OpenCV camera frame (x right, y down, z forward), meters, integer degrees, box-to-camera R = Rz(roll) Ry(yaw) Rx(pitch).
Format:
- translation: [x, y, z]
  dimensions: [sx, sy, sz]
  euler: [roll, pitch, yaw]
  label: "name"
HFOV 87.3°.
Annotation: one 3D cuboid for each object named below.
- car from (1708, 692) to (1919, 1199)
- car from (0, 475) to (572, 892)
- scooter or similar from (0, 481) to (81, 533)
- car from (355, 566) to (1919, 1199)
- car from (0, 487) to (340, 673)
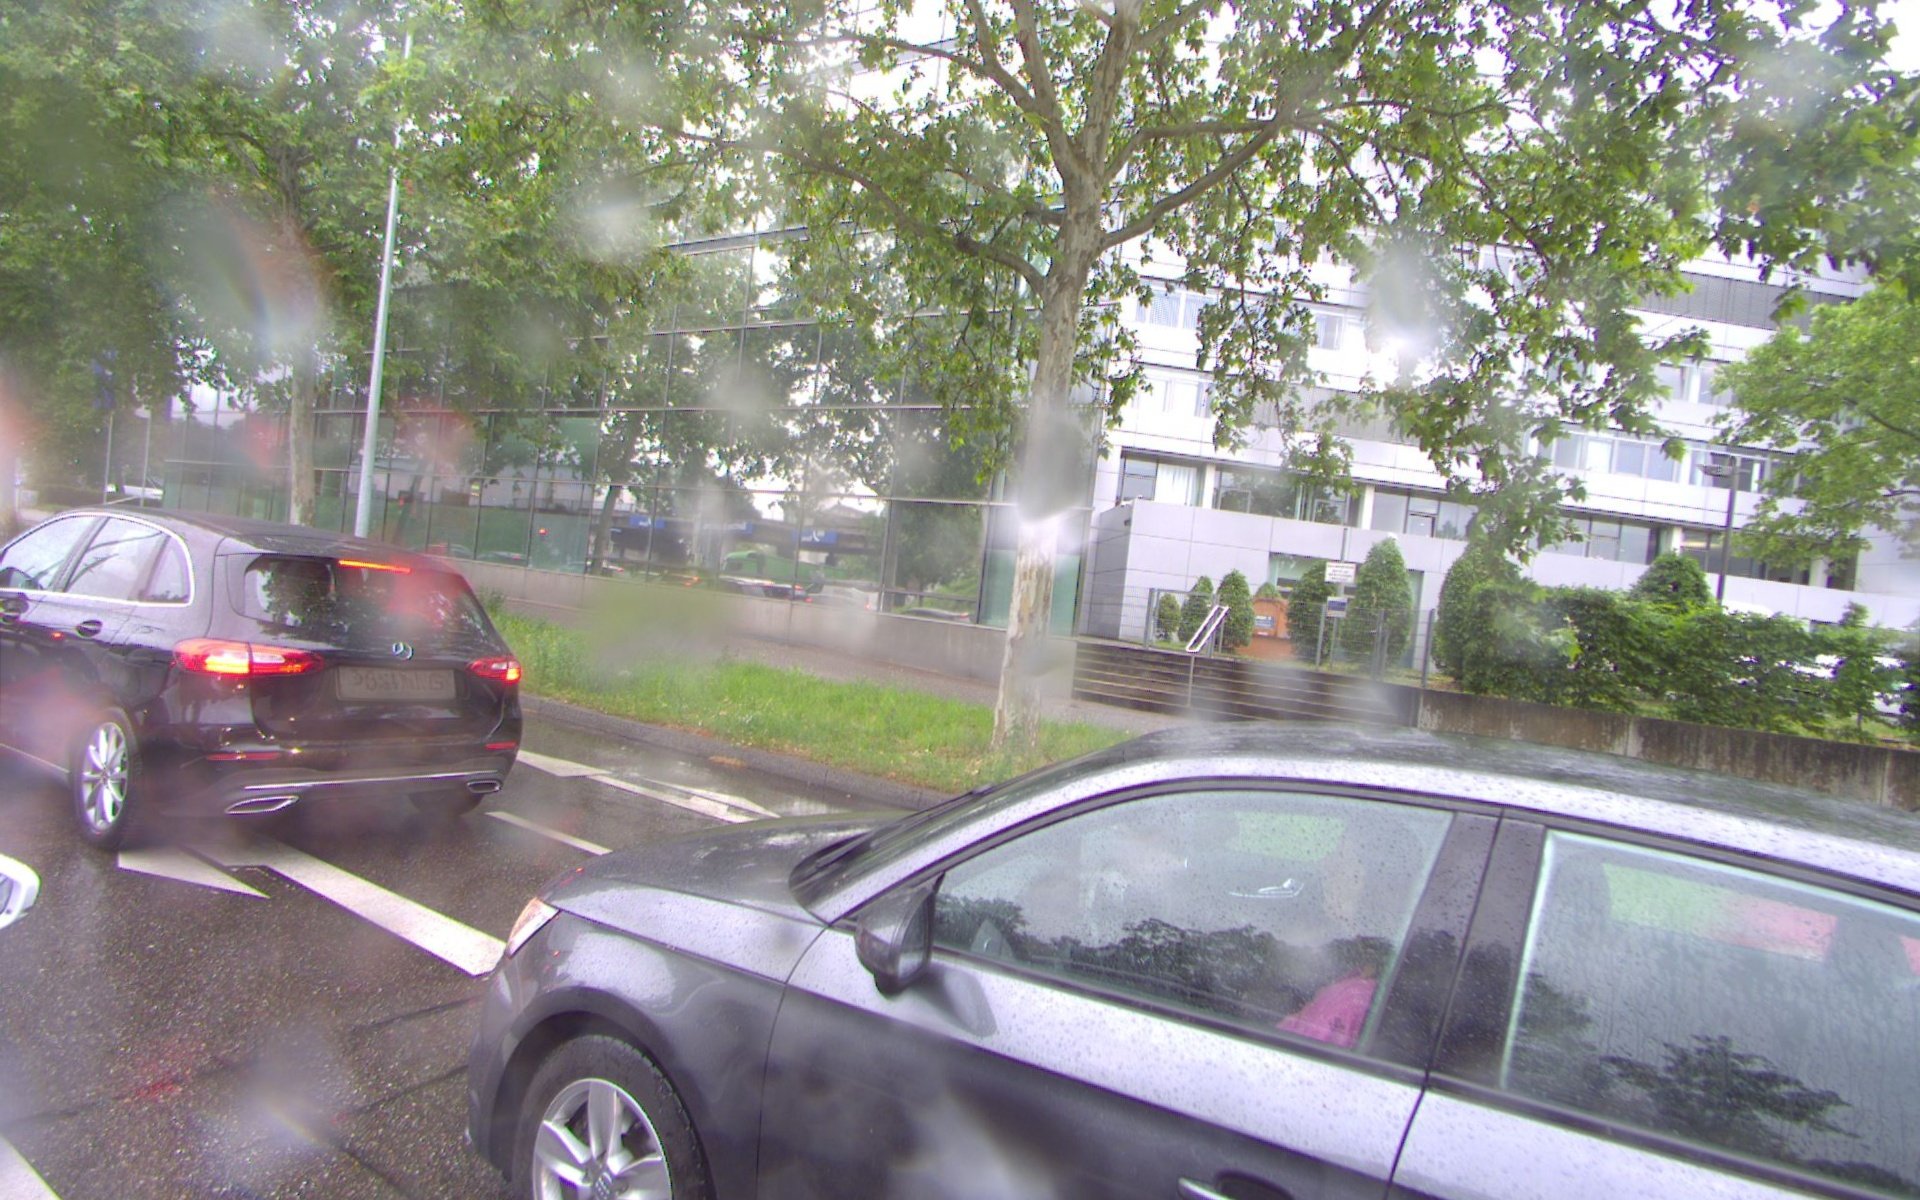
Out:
- translation: [5.009, 1.423, 2.965]
  dimensions: [4.201, 1.714, 1.714]
  euler: [6, -2, 31]
  label: "car"
- translation: [-4.354, 0.247, 5.758]
  dimensions: [4.022, 1.573, 1.751]
  euler: [7, -1, 31]
  label: "car"
- translation: [-54.534, -5.513, 58.151]
  dimensions: [5.228, 2.476, 1.893]
  euler: [7, 0, -9]
  label: "scooter or similar"
- translation: [0.657, 0.898, 2.118]
  dimensions: [3.718, 1.445, 1.679]
  euler: [7, -1, 31]
  label: "car"
- translation: [-9.591, -0.261, 12.135]
  dimensions: [3.933, 1.631, 1.880]
  euler: [7, -2, 32]
  label: "car"
